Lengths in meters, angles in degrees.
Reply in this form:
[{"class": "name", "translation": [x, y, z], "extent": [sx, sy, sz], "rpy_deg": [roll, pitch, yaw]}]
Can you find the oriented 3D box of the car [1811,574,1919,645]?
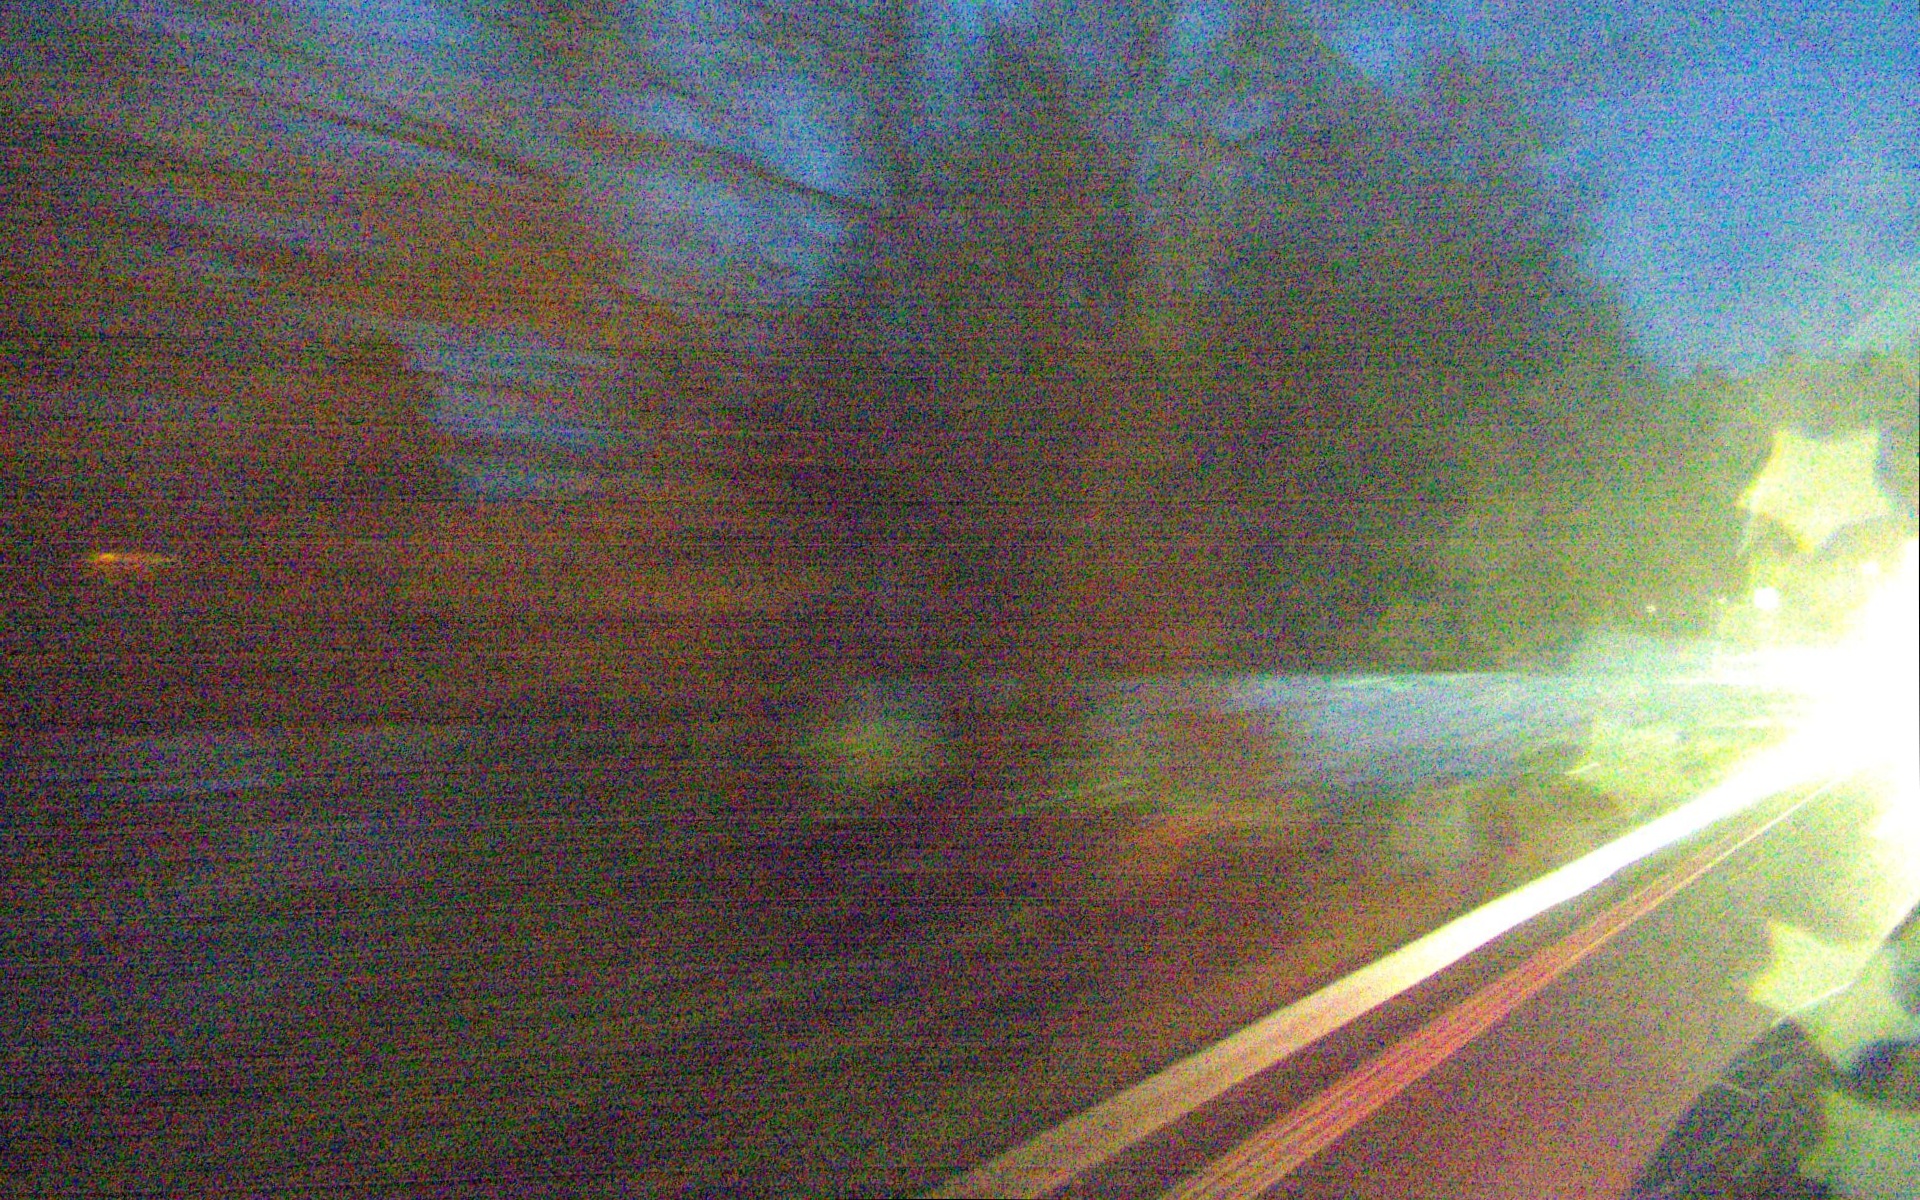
[{"class": "car", "translation": [24.818, 0.197, 26.328], "extent": [1.930, 1.713, 4.759], "rpy_deg": [-3, 0, 11]}]
